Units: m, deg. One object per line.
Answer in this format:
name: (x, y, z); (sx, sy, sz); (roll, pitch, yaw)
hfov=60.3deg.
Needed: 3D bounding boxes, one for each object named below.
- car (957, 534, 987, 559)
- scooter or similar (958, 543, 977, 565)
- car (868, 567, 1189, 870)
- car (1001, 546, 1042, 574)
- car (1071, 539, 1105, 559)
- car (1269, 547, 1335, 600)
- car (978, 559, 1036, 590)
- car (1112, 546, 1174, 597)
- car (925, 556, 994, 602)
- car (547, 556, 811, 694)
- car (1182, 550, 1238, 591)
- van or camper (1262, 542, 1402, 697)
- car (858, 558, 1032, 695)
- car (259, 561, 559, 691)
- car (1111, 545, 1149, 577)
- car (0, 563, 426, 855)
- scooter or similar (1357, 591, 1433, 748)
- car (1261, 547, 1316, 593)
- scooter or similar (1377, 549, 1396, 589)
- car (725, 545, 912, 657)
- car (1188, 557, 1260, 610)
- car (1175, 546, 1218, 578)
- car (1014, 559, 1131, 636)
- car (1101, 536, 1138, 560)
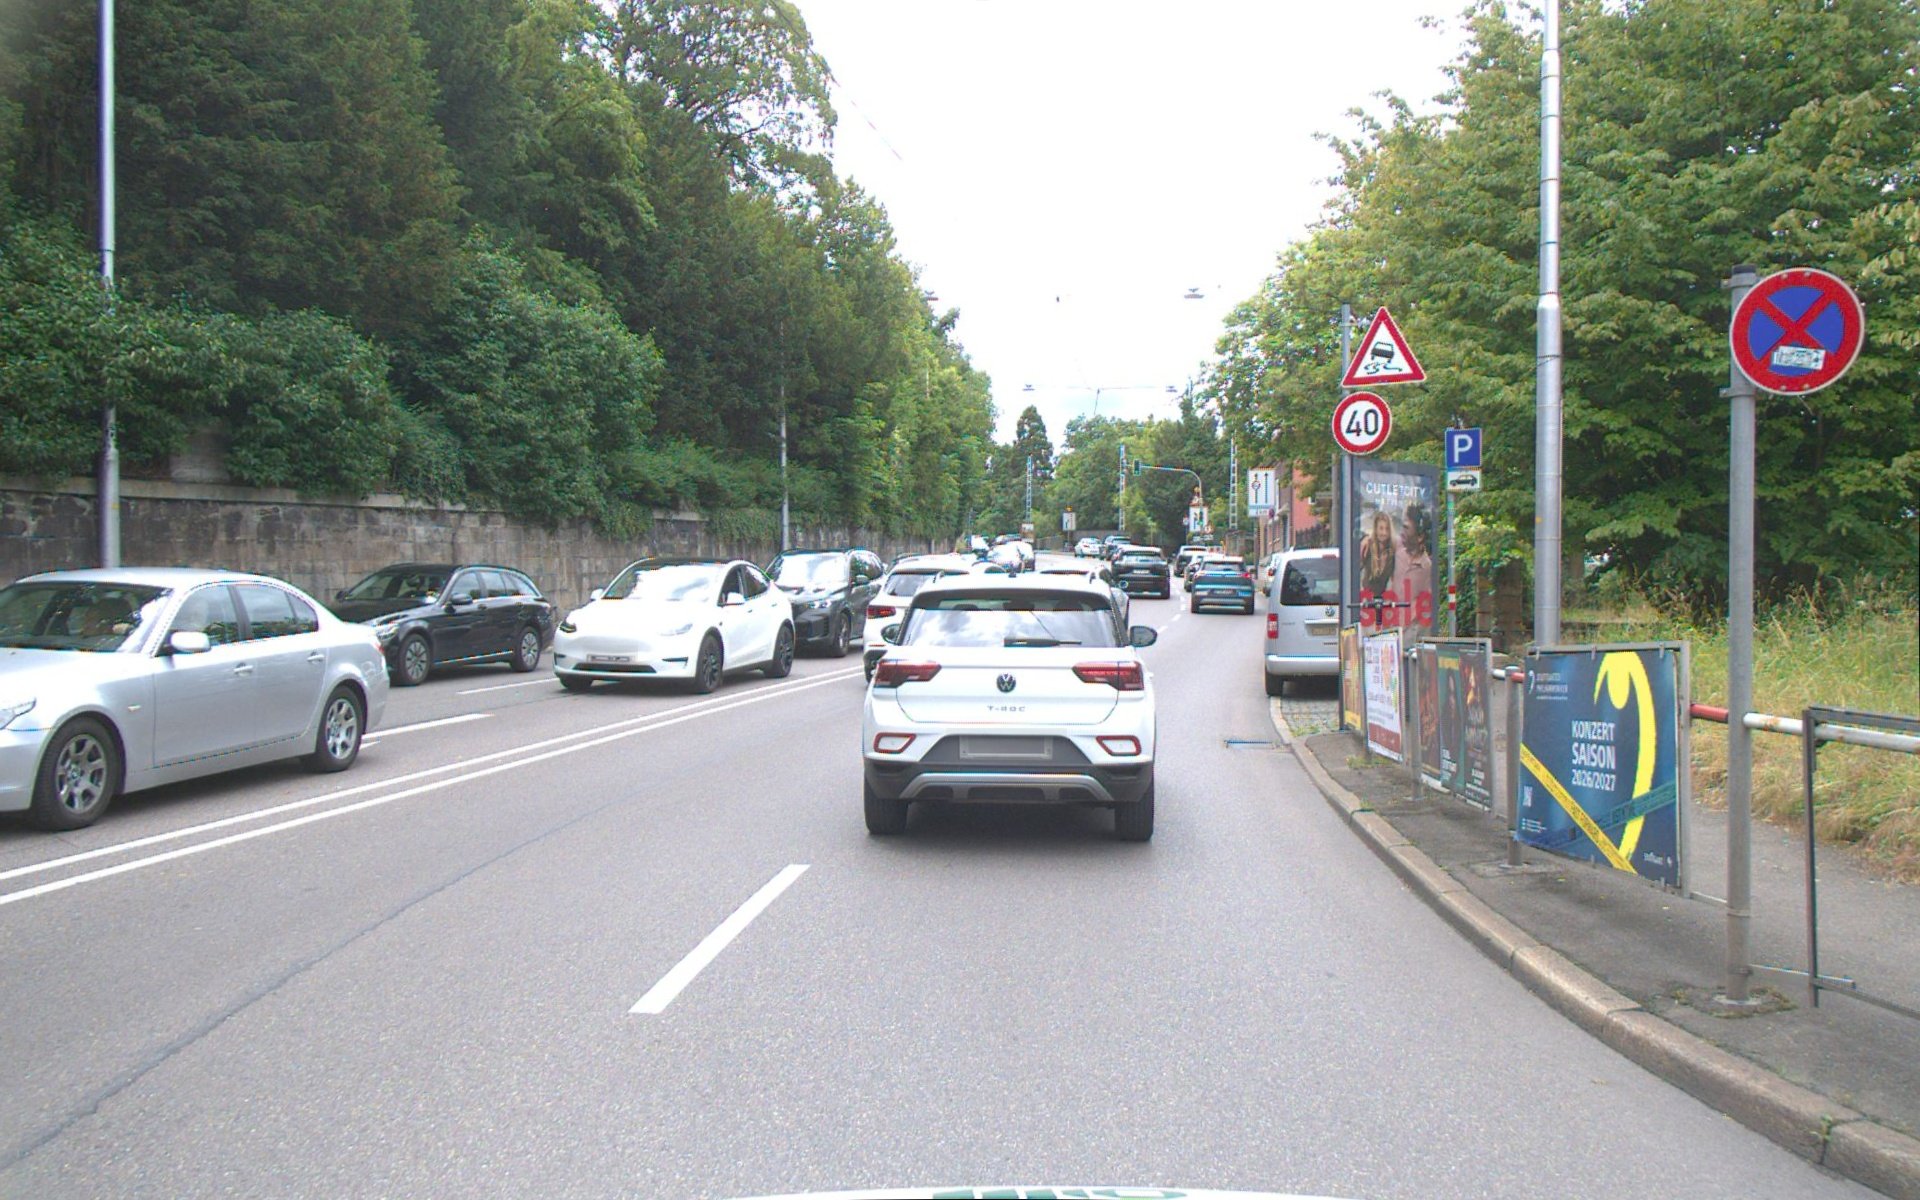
car: (0.892, -4.050, 125.952); (1.954, 1.785, 3.997); (1, 0, -4)
scooter or similar: (0.486, -2.820, 101.732); (1.090, 1.258, 0.427); (3, 2, -44)
car: (0.454, 0.615, 11.023); (1.721, 1.582, 3.797); (2, 2, 2)
car: (3.357, -2.183, 90.034); (1.803, 1.461, 4.004); (0, 2, 8)
car: (9.789, -3.921, 126.794); (1.954, 1.475, 4.147); (0, 1, -4)
car: (10.911, -0.878, 53.005); (1.679, 1.496, 4.042); (-3, 2, 7)
car: (2.225, -1.210, 77.501); (1.959, 1.433, 4.760); (0, 1, 11)
car: (6.214, -0.996, 55.885); (1.951, 1.583, 4.155); (2, 2, 7)
car: (0.020, -0.760, 58.191); (1.918, 1.574, 3.753); (-1, 1, 7)
car: (-3.513, 0.225, 21.692); (1.798, 1.581, 4.793); (1, 2, 11)
car: (9.416, -1.141, 62.515); (1.951, 1.475, 4.154); (1, 1, 7)
van or camper: (5.043, 0.192, 22.290); (1.662, 1.877, 4.246); (0, 1, 14)
car: (-0.115, 0.278, 22.490); (1.720, 1.637, 3.799); (2, 2, 9)
car: (-7.044, 0.250, 21.622); (1.696, 1.477, 4.053); (2, 2, 16)
car: (8.200, -1.892, 79.505); (1.743, 1.479, 4.004); (1, 2, 7)
car: (-5.626, 0.524, 11.063); (1.951, 1.495, 4.883); (-1, 1, 8)
scooter or similar: (3.909, 0.597, 14.932); (0.505, 1.311, 1.488); (-2, 1, 10)
car: (11.579, -1.092, 58.463); (1.639, 1.486, 4.370); (-1, 2, 8)
scooter or similar: (14.277, -1.051, 55.330); (0.505, 1.282, 1.170); (-2, 2, 11)
car: (-2.351, -0.048, 28.907); (1.918, 1.780, 4.883); (0, 1, 12)
car: (7.511, -0.502, 47.226); (1.951, 1.439, 4.154); (0, 1, 9)
car: (11.382, -1.829, 79.733); (1.951, 1.475, 4.154); (1, 1, 8)
car: (2.426, -0.094, 34.790); (1.951, 1.515, 4.155); (0, 1, 11)
car: (10.953, -3.587, 114.058); (1.954, 1.602, 4.149); (0, 1, -3)
